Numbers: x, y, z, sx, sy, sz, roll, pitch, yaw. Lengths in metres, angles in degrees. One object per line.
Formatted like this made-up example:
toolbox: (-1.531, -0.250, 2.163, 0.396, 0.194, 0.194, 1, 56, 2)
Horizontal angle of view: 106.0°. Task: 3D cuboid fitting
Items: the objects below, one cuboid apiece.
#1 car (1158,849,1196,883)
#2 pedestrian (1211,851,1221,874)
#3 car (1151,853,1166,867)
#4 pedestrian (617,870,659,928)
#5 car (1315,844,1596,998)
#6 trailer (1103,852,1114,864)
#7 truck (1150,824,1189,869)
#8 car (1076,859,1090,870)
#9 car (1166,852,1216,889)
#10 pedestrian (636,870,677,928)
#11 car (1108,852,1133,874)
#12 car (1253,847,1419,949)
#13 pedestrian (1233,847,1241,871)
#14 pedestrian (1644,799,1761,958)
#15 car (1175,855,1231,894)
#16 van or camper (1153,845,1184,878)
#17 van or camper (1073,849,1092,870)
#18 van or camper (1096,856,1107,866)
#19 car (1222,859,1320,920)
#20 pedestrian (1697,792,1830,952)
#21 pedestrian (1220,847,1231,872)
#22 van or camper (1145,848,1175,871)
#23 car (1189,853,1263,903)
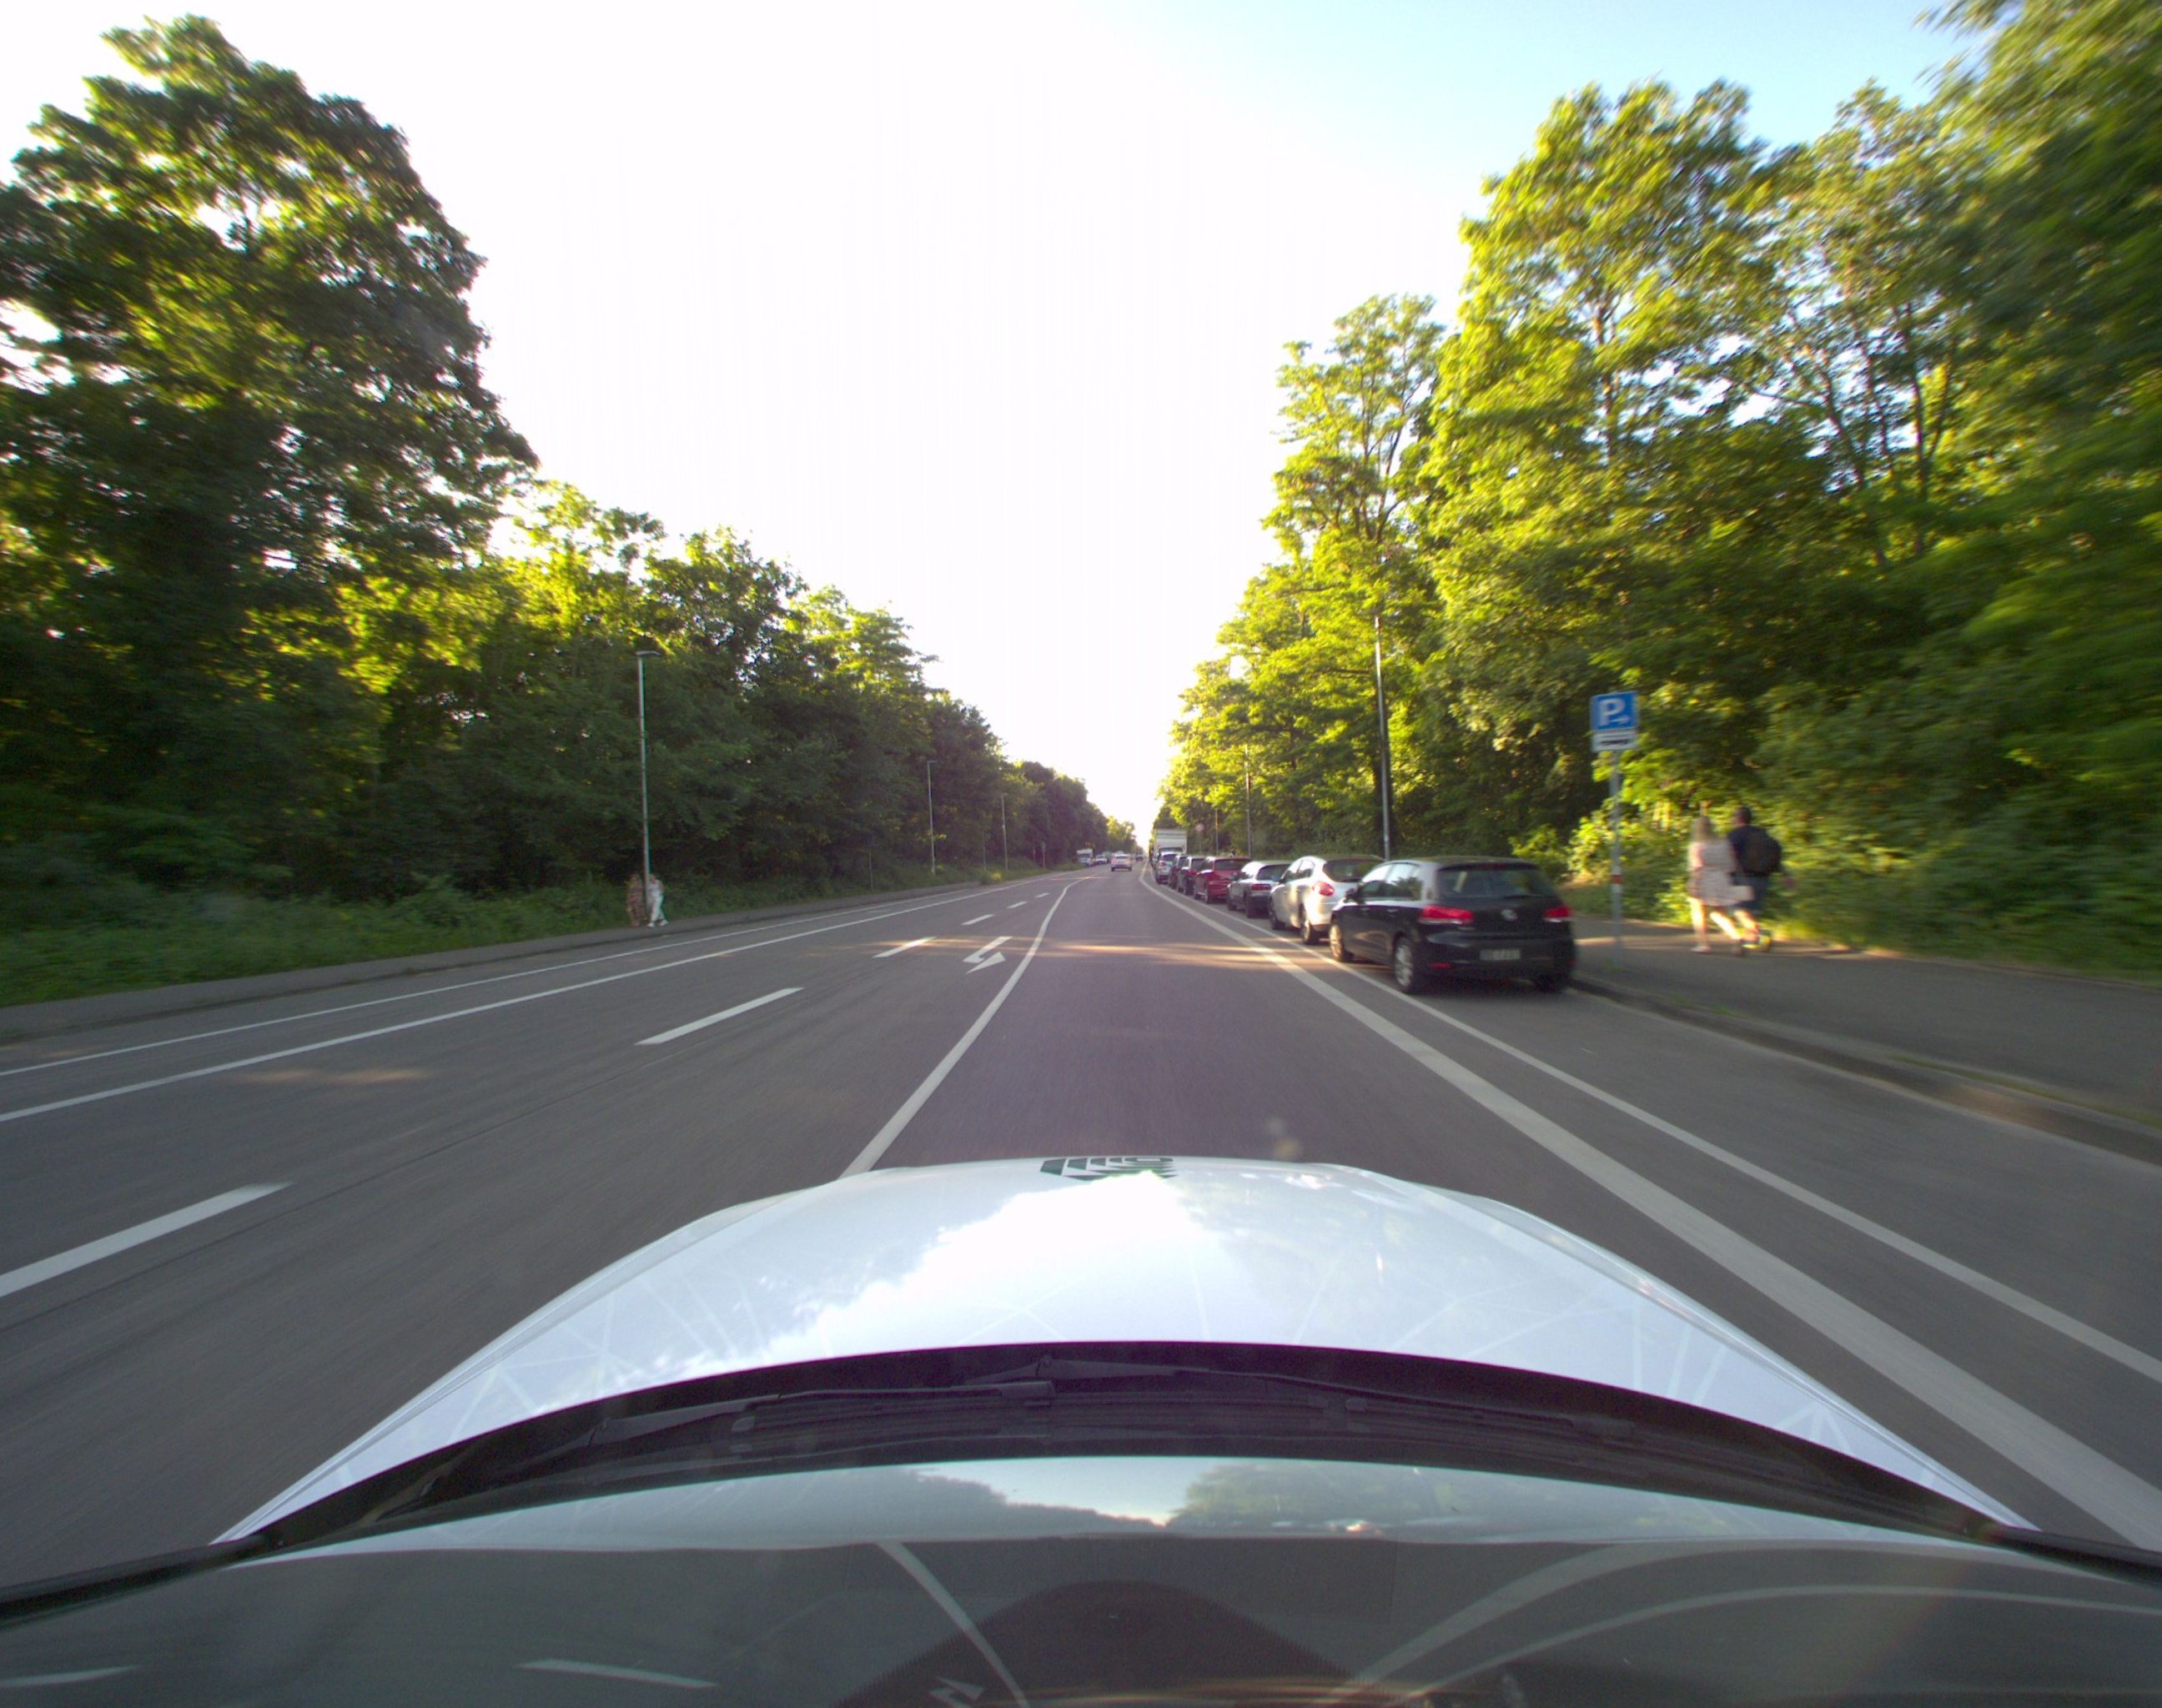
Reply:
car: (4.883, 0.598, 41.735, 1.790, 1.595, 4.035, -2, 0, 5)
pedestrian: (9.365, 0.584, 56.572, 0.561, 1.588, 0.482, -3, -1, 4)
car: (8.976, 0.678, 94.077, 1.703, 1.665, 4.559, 0, 0, 6)
pedestrian: (-13.173, 1.336, 24.232, 0.671, 1.653, 0.792, -2, 0, 9)
car: (4.300, 0.668, 10.100, 1.651, 1.452, 4.020, -2, 0, 1)
trailer: (6.025, 0.887, 180.492, 1.984, 2.597, 4.421, -4, -1, 5)
truck: (7.477, -0.625, 69.632, 2.820, 3.497, 8.587, -2, 0, 4)
car: (0.271, 1.513, 116.036, 1.820, 1.476, 4.683, -4, 0, 2)
car: (4.850, 0.692, 36.357, 1.800, 1.519, 4.507, 0, 0, 2)
pedestrian: (-12.497, 1.315, 24.013, 0.671, 1.653, 0.792, -2, 0, 9)
car: (3.651, 0.823, 75.033, 2.019, 1.840, 4.035, -2, 0, 5)
car: (4.448, 0.694, 14.942, 1.731, 1.525, 4.361, -2, 0, 1)
pedestrian: (10.411, 0.325, 54.485, 0.392, 1.588, 0.482, -3, -1, 4)
pedestrian: (7.489, 0.285, 9.852, 0.673, 1.799, 0.789, -4, 0, -1)
car: (4.612, 0.742, 31.187, 1.589, 1.401, 3.798, -1, 0, 0)
van or camper: (5.801, 0.469, 54.410, 1.888, 2.013, 4.593, -2, 0, 5)
van or camper: (0.307, 0.829, 123.307, 2.305, 2.970, 7.115, -4, -1, 2)
van or camper: (3.954, 1.346, 157.281, 1.827, 1.911, 4.861, -4, -1, 4)
car: (4.627, 0.807, 20.326, 1.622, 1.319, 3.841, -1, 0, 1)
pedestrian: (8.207, 0.205, 9.839, 0.673, 1.799, 0.953, -4, 0, -1)
pedestrian: (10.499, 0.430, 59.006, 0.615, 1.764, 0.908, -3, -1, 4)
van or camper: (10.368, 0.719, 106.808, 2.421, 2.799, 6.587, -3, 0, 18)
car: (4.533, 0.703, 25.874, 1.612, 1.469, 3.722, 0, 0, -1)
